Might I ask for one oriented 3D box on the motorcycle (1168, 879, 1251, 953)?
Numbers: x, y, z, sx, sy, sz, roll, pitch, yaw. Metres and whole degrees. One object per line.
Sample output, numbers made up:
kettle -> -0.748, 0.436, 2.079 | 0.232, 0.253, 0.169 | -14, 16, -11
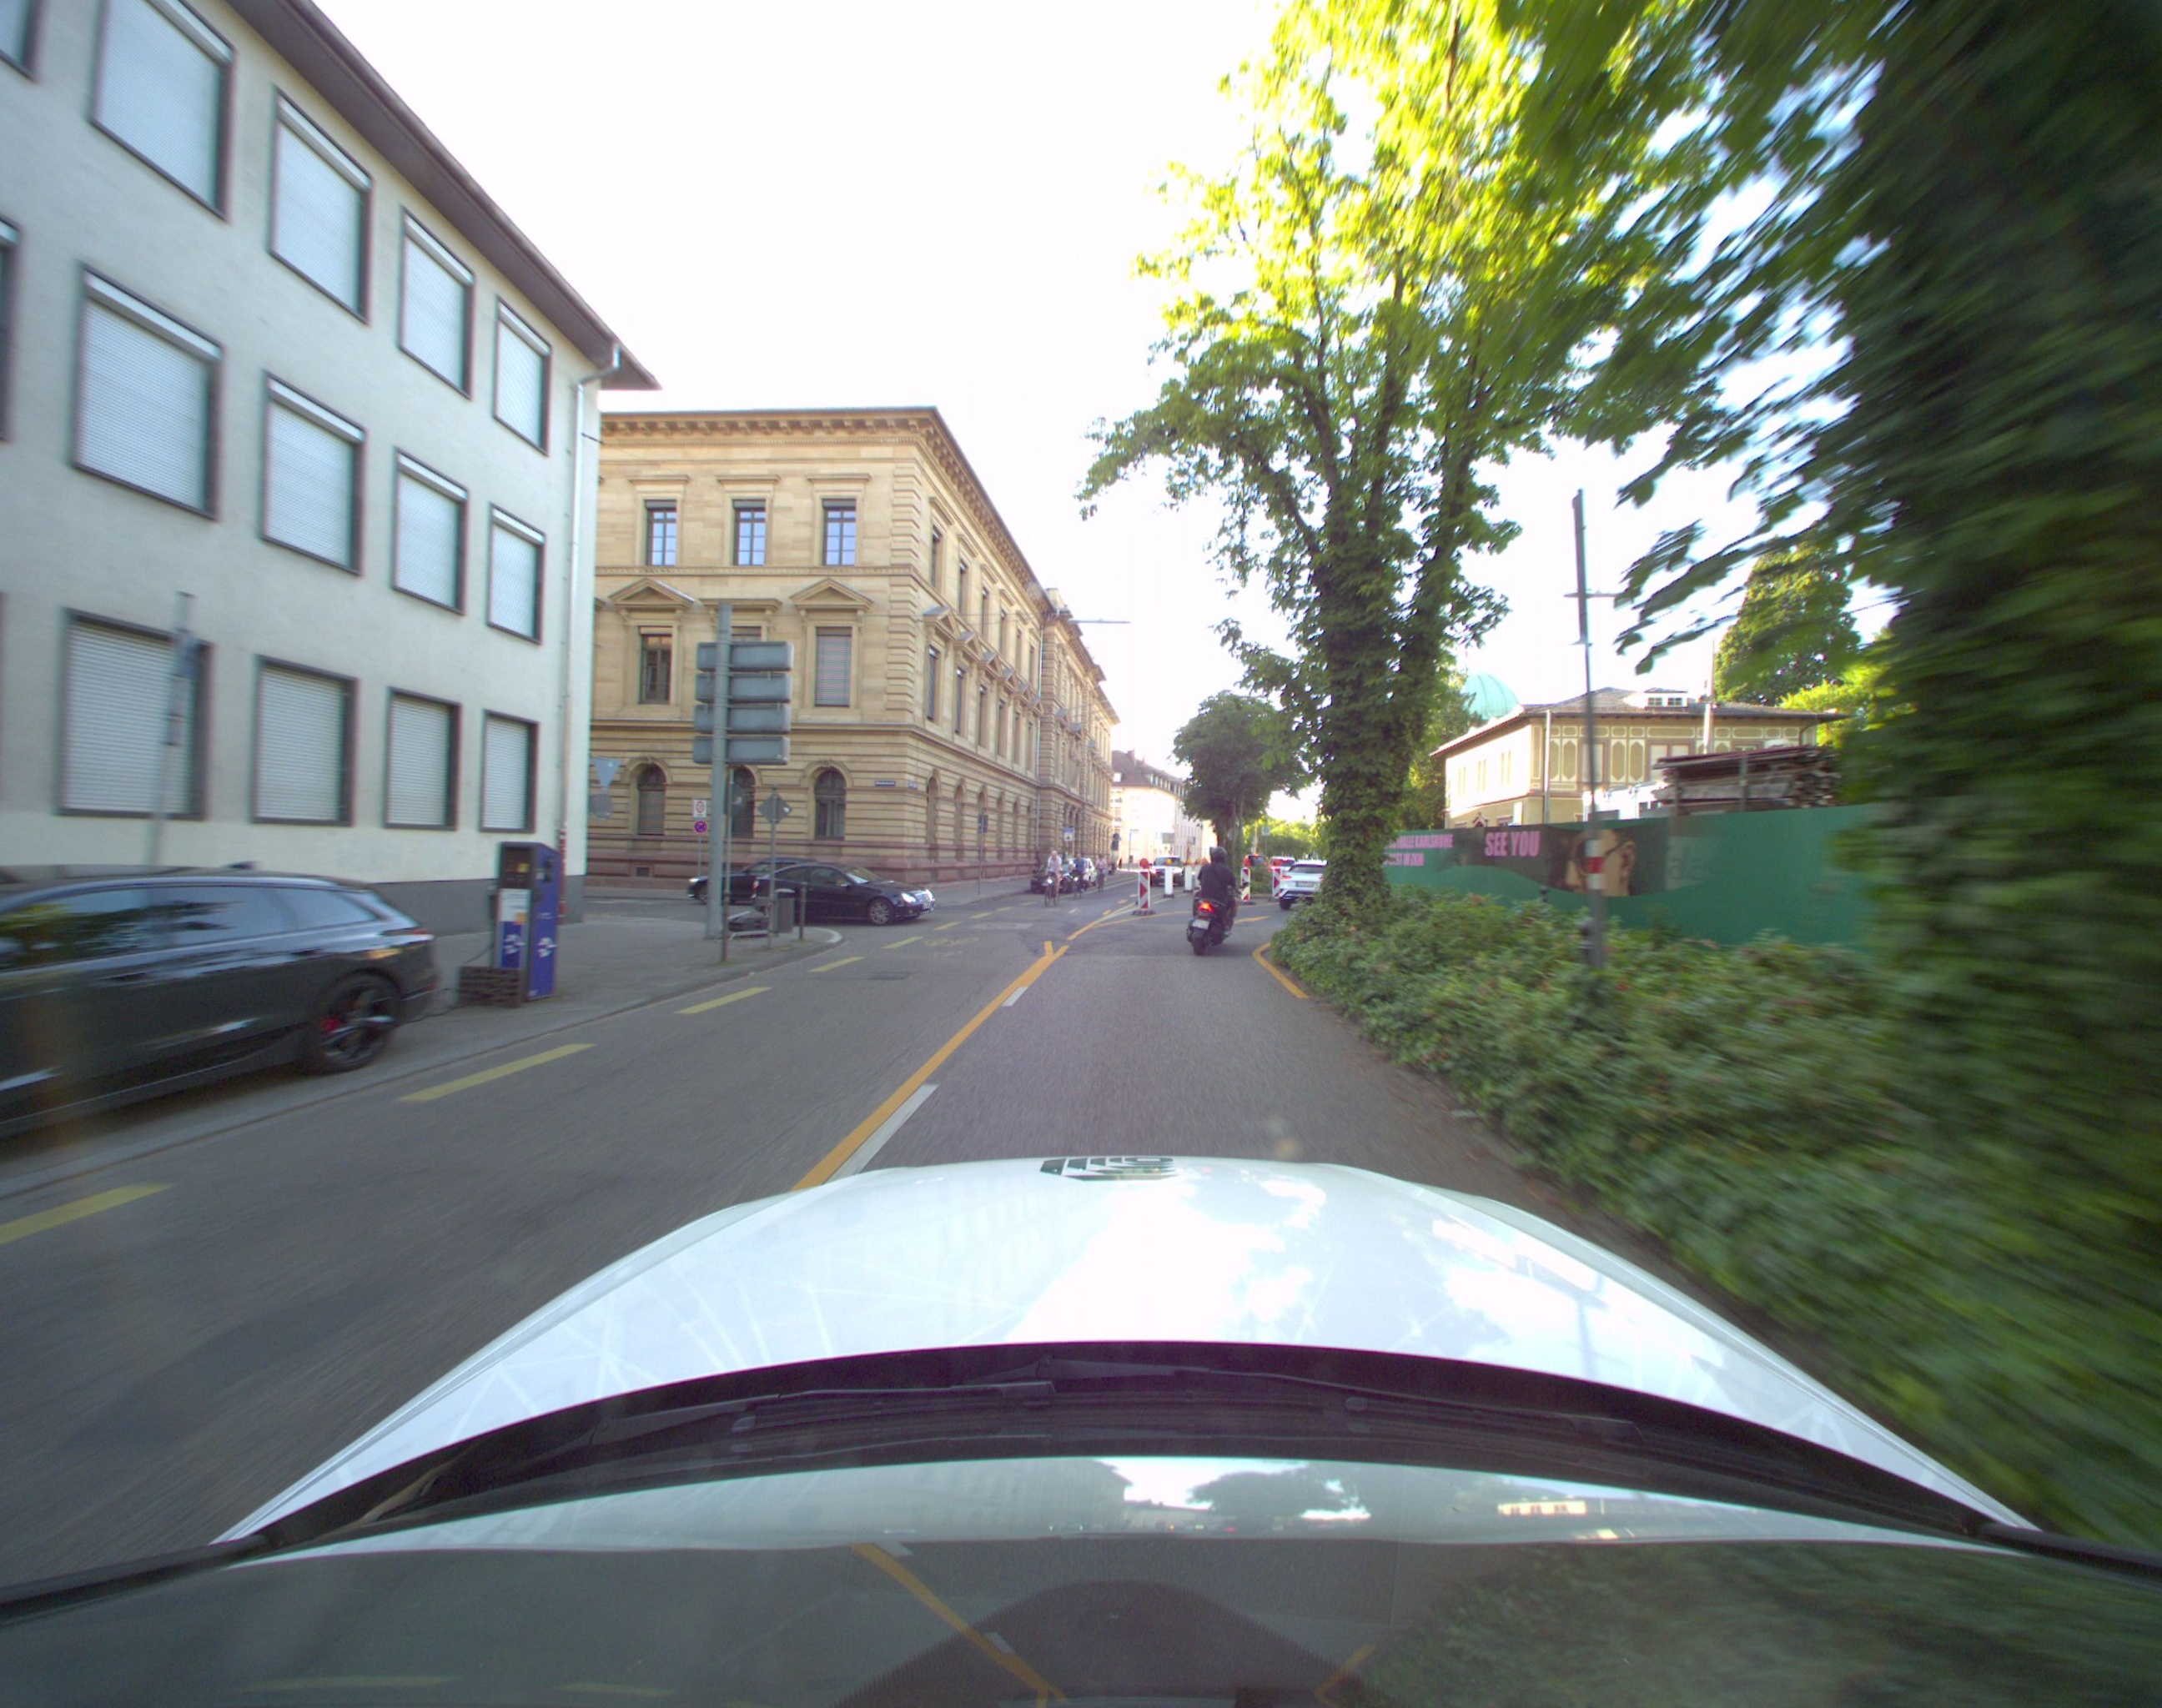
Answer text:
motorcycle -> 2.117, 0.958, 13.224 | 0.789, 1.066, 1.735 | 2, 0, 27

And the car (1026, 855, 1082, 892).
car -> -1.147, 0.822, 36.436 | 1.984, 1.567, 4.294 | 0, 0, 5

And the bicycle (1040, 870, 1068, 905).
bicycle -> -0.839, 1.049, 26.039 | 0.580, 1.035, 2.133 | 0, 0, 7

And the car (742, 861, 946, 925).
car -> -5.597, 0.877, 19.421 | 4.287, 1.390, 1.781 | 0, 0, 10

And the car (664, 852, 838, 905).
car -> -9.486, 0.682, 23.806 | 4.460, 1.461, 1.767 | 0, 0, -14

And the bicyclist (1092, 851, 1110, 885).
bicyclist -> 0.970, 0.653, 38.587 | 0.623, 1.554, 0.736 | 0, 0, 20

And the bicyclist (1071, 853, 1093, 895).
bicyclist -> 0.057, 0.762, 31.688 | 0.623, 1.613, 0.873 | 0, 0, 15

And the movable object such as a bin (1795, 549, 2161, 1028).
movable object such as a bin -> 11.902, -0.608, 7.927 | 3.293, 4.539, 7.912 | 1, 0, 3

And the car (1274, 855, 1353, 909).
car -> 7.216, 0.804, 25.020 | 1.834, 1.480, 4.080 | 0, 0, 23

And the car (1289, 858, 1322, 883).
car -> 16.924, 1.230, 61.476 | 1.830, 1.699, 4.067 | 2, 0, 8

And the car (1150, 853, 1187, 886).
car -> 4.831, 0.827, 45.388 | 1.984, 1.695, 4.405 | 0, 0, 5

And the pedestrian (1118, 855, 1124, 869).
pedestrian -> 4.686, 0.919, 95.387 | 0.662, 1.553, 0.650 | 0, 0, 4

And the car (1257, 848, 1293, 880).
car -> 12.438, 0.648, 52.367 | 1.830, 1.912, 4.067 | 2, 0, 8

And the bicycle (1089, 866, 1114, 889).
bicycle -> 0.989, 1.112, 38.531 | 0.528, 1.035, 2.046 | 0, 0, 20

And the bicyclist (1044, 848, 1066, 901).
bicyclist -> -0.831, 0.648, 26.126 | 0.563, 1.667, 0.836 | 0, 0, 7

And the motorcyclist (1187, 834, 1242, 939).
motorcyclist -> 2.189, 0.522, 13.364 | 0.651, 1.650, 0.654 | 2, 0, 27

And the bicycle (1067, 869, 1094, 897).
bicycle -> -0.005, 1.110, 31.669 | 0.529, 1.035, 1.915 | 0, 0, 15

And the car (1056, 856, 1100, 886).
car -> -0.118, 0.861, 43.787 | 1.984, 1.528, 4.190 | 0, 0, 5

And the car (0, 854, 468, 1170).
car -> -6.262, 0.789, 4.638 | 1.817, 1.503, 4.760 | 2, 0, 1
